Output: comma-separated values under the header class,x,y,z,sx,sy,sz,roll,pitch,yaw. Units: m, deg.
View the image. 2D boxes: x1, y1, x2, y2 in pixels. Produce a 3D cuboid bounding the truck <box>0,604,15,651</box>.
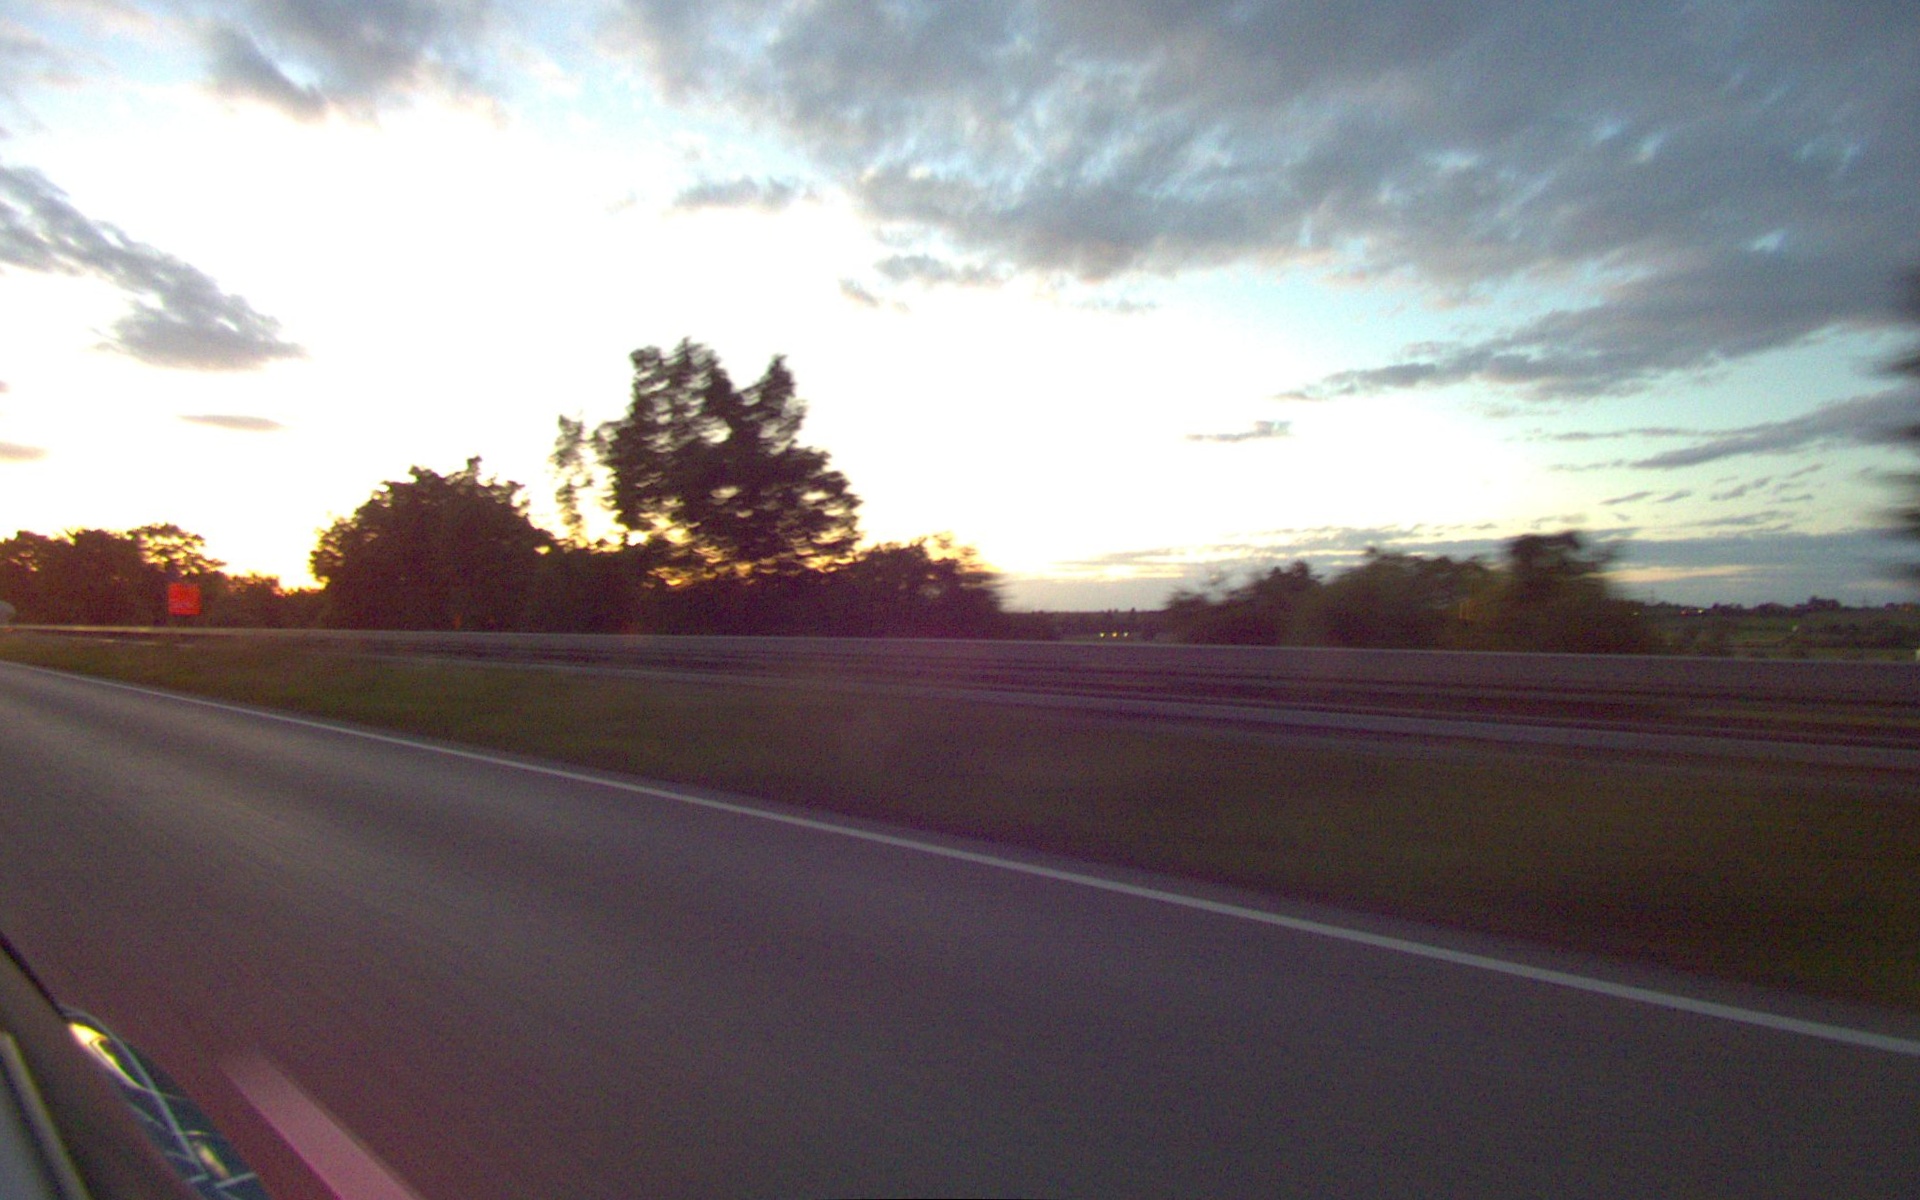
class,x,y,z,sx,sy,sz,roll,pitch,yaw
truck,-113.277,3.168,117.890,12.600,5.295,3.170,-1,-1,40
